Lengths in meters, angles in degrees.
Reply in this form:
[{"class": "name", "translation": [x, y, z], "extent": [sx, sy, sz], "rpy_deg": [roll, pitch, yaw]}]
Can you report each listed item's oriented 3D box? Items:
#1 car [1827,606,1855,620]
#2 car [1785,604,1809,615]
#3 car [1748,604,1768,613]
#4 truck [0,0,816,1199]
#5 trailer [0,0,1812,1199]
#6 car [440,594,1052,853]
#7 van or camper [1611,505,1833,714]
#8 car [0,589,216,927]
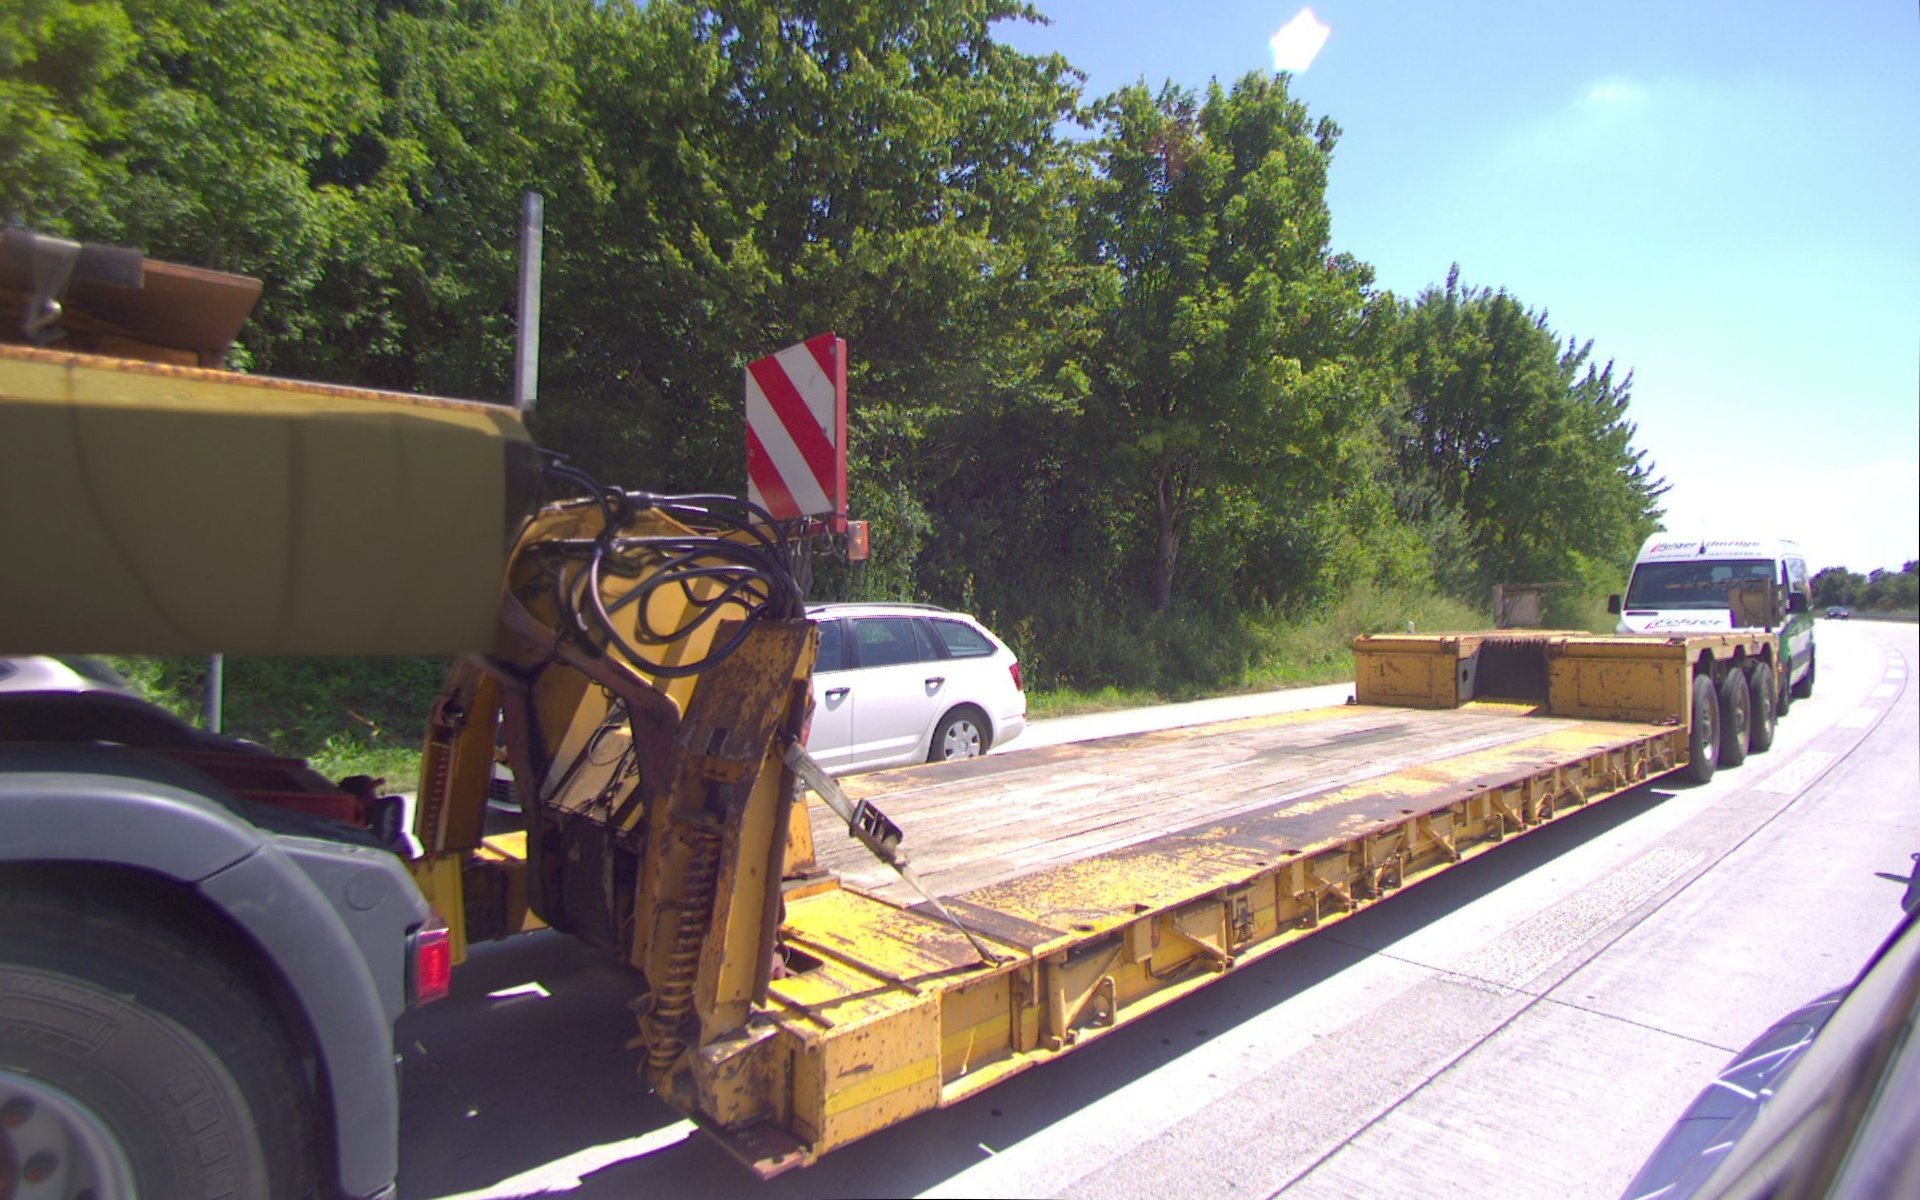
[{"class": "car", "translation": [99.492, 1.442, 114.324], "extent": [1.614, 1.504, 3.957], "rpy_deg": [0, 0, 30]}, {"class": "car", "translation": [119.739, 1.409, 144.795], "extent": [1.690, 1.483, 3.964], "rpy_deg": [0, 0, 26]}, {"class": "car", "translation": [130.246, 1.349, 165.205], "extent": [1.875, 1.483, 3.959], "rpy_deg": [0, 0, 29]}, {"class": "truck", "translation": [-4.028, -0.505, 0.856], "extent": [7.342, 3.820, 3.017], "rpy_deg": [0, 0, -42]}, {"class": "trailer", "translation": [1.861, 0.105, 6.206], "extent": [16.076, 2.626, 3.031], "rpy_deg": [0, 0, -42]}, {"class": "car", "translation": [-1.434, 0.698, 8.039], "extent": [4.521, 1.480, 1.769], "rpy_deg": [-1, 0, -43]}, {"class": "van or camper", "translation": [11.760, 0.083, 15.419], "extent": [2.063, 2.606, 5.815], "rpy_deg": [0, 0, 43]}, {"class": "car", "translation": [-5.819, 0.708, 4.175], "extent": [4.290, 1.480, 1.770], "rpy_deg": [-1, 0, -42]}]
